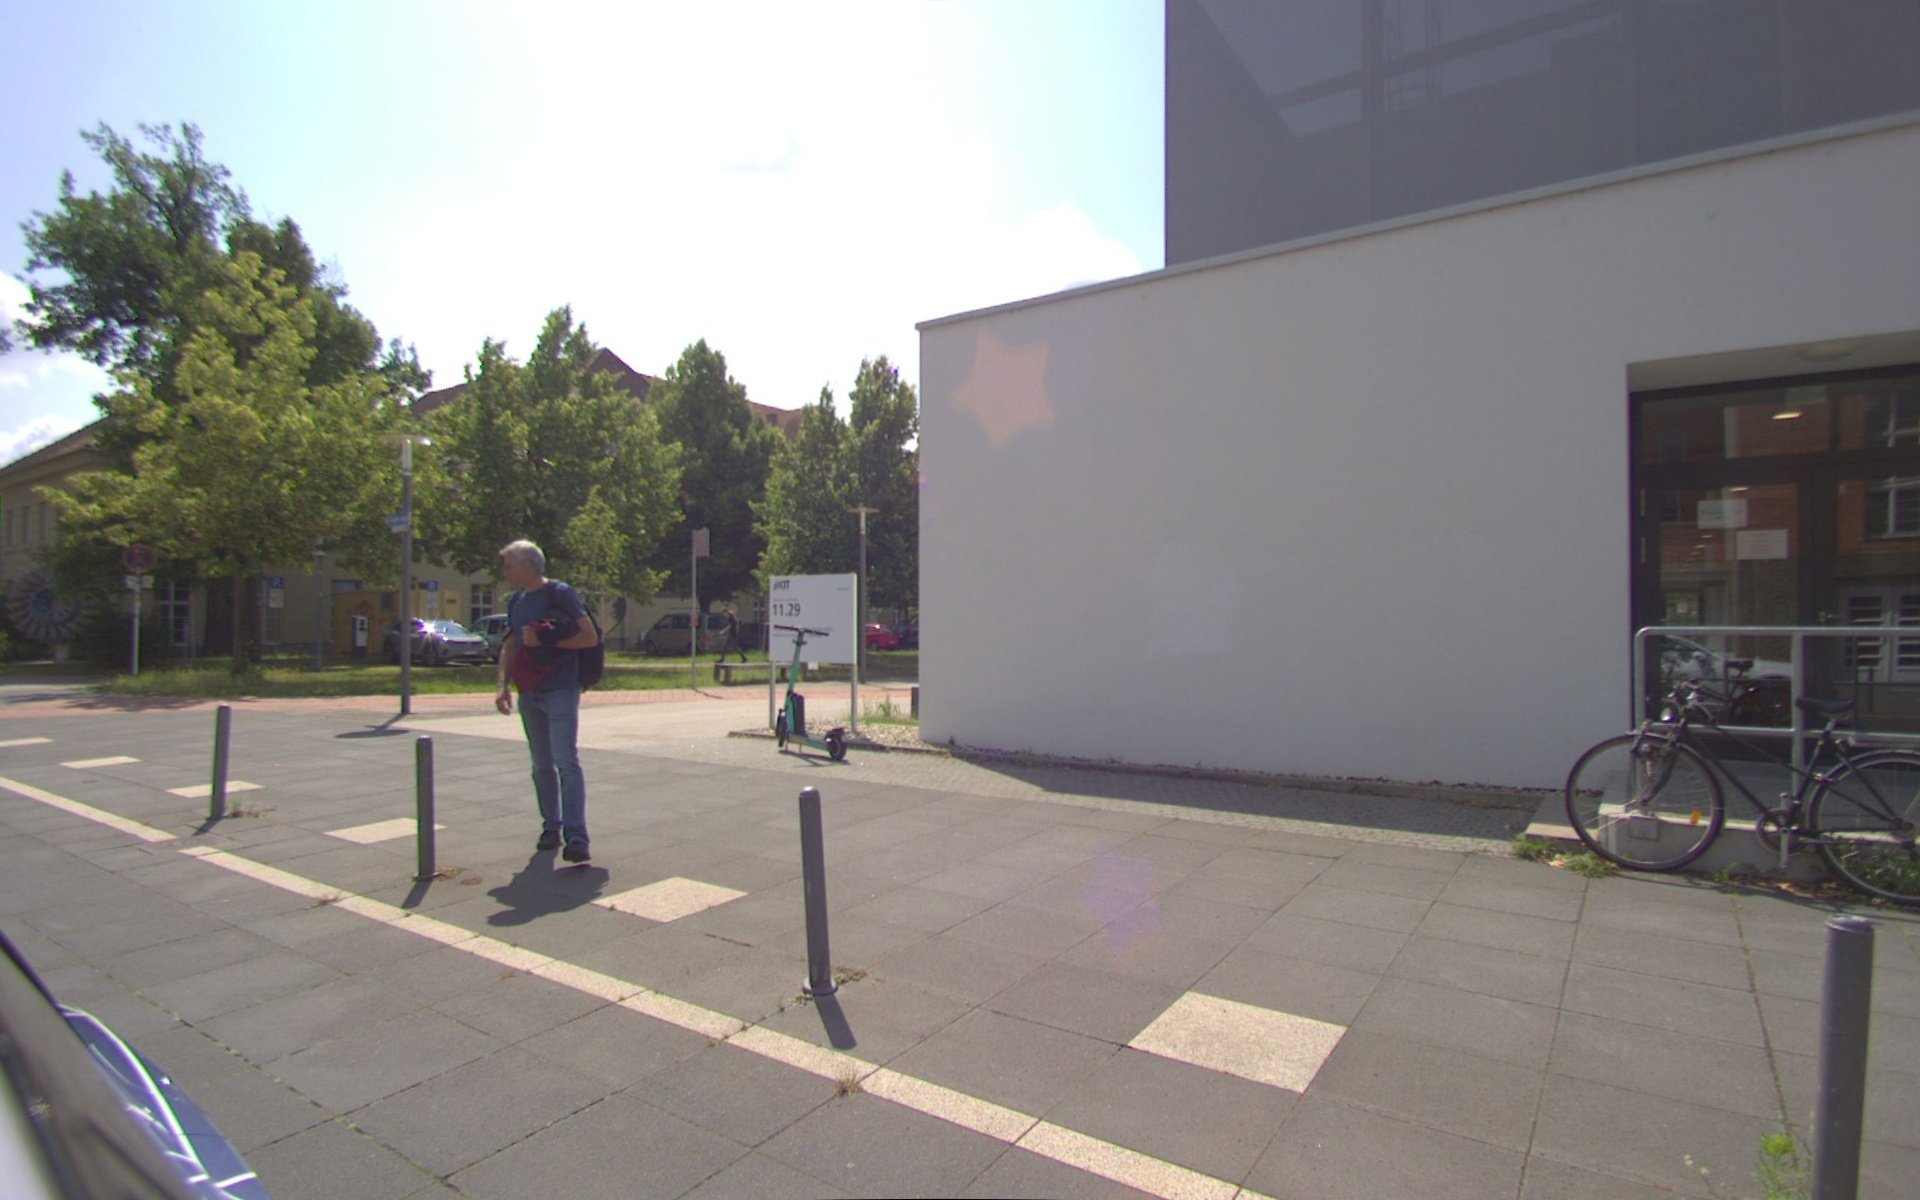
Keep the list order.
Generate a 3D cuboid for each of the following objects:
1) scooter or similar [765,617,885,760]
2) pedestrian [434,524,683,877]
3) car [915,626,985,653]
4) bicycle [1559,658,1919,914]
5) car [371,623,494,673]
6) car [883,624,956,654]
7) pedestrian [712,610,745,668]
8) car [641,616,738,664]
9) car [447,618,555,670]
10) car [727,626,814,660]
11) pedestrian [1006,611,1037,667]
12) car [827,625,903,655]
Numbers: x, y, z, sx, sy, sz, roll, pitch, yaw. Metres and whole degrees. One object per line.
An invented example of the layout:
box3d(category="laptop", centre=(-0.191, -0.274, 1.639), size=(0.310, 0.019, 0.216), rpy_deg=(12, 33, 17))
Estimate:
box3d(category="scooter or similar", centre=(-1.309, 0.802, 9.664), size=(0.476, 1.272, 1.315), rpy_deg=(1, -2, -43))
box3d(category="pedestrian", centre=(-2.330, 0.535, 5.902), size=(1.140, 1.831, 0.817), rpy_deg=(-1, -2, 30))
box3d(category="car", centre=(-0.634, 2.451, 63.724), size=(4.114, 1.553, 1.792), rpy_deg=(0, -1, 34))
box3d(category="bicycle", centre=(4.026, 0.837, 4.863), size=(1.897, 1.069, 0.538), rpy_deg=(-2, -2, 40))
box3d(category="car", centre=(-18.611, 1.643, 35.648), size=(4.638, 1.593, 1.878), rpy_deg=(0, -1, 34))
box3d(category="car", centre=(-2.462, 2.307, 60.602), size=(4.114, 1.679, 1.792), rpy_deg=(0, -1, 34))
box3d(category="pedestrian", centre=(-7.362, 1.229, 32.144), size=(0.858, 1.800, 0.638), rpy_deg=(1, 2, -25))
box3d(category="car", centre=(-12.107, 1.735, 45.173), size=(4.521, 1.974, 1.789), rpy_deg=(0, -1, 38))
box3d(category="car", centre=(-17.099, 1.597, 37.664), size=(4.114, 1.799, 1.792), rpy_deg=(0, -1, 34))
box3d(category="car", centre=(-9.287, 2.066, 49.407), size=(4.114, 1.553, 1.792), rpy_deg=(0, -1, 34))
box3d(category="pedestrian", centre=(2.114, 1.348, 34.997), size=(0.657, 1.906, 0.857), rpy_deg=(1, -2, -39))
box3d(category="car", centre=(-5.358, 2.237, 56.770), size=(4.118, 1.553, 1.790), rpy_deg=(0, -1, 38))
